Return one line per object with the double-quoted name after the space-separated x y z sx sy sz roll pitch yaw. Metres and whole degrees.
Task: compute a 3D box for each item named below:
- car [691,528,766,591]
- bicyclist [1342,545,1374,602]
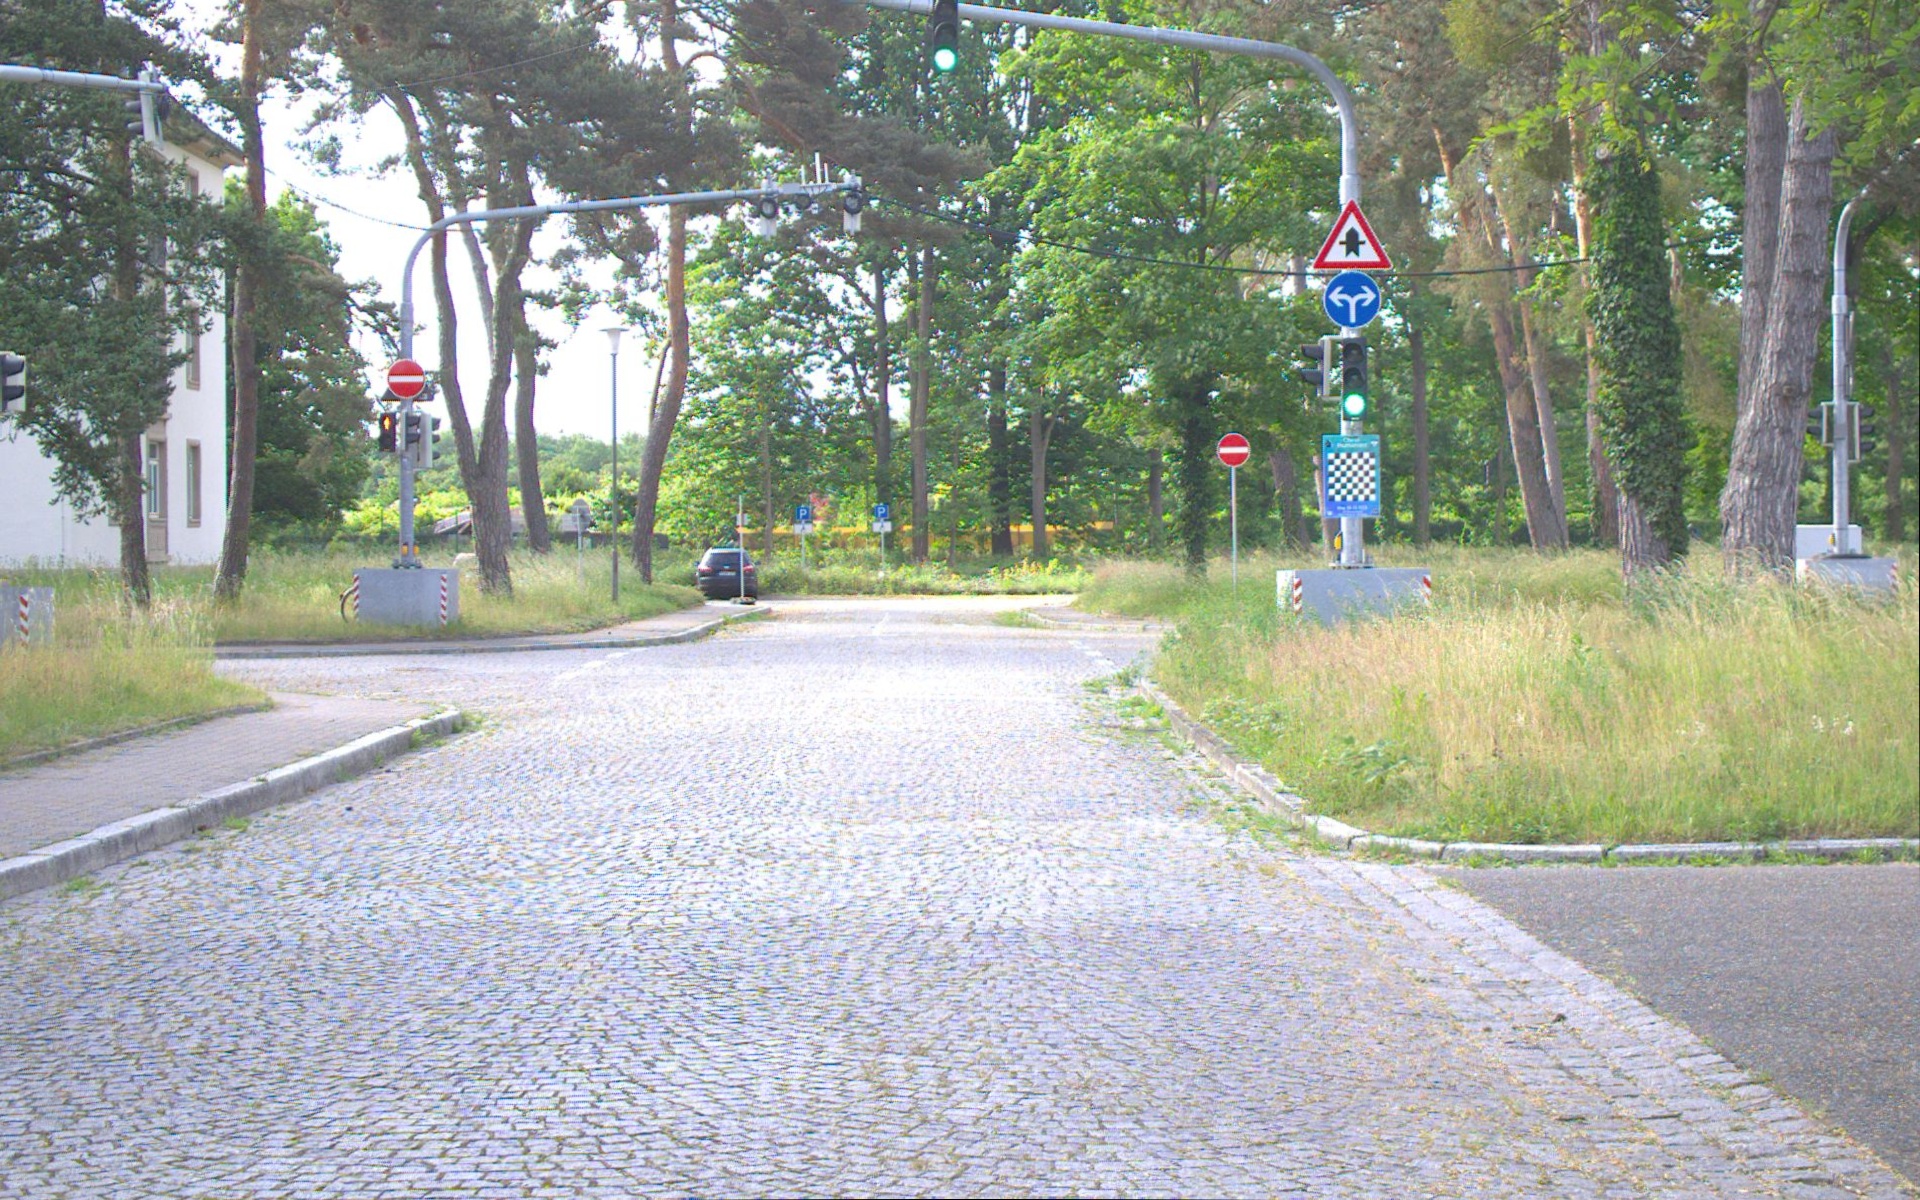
-6.945 -1.224 103.596 2.056 1.840 4.000 0 1 -1 "car"
11.688 -0.772 100.904 0.748 1.665 0.526 1 0 -17 "bicyclist"
